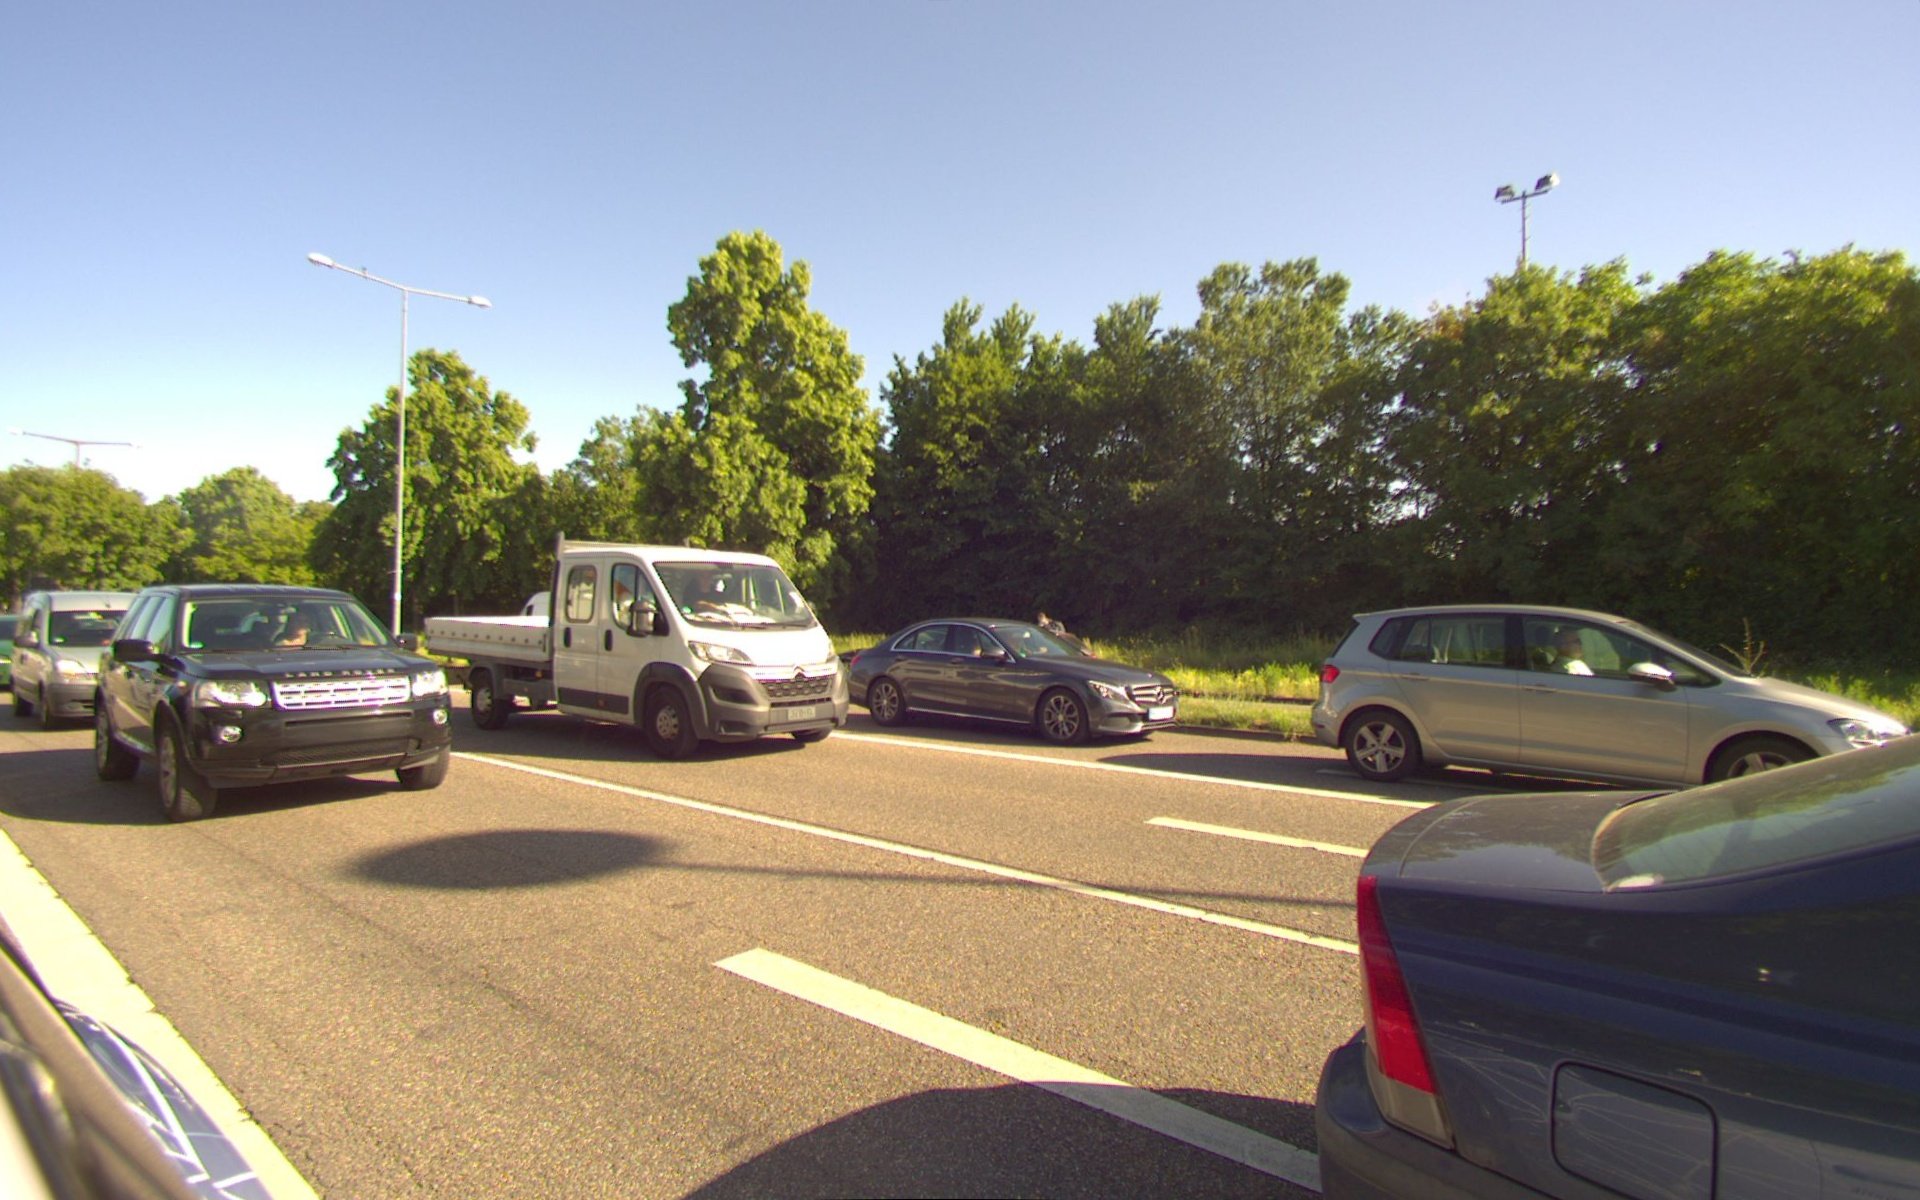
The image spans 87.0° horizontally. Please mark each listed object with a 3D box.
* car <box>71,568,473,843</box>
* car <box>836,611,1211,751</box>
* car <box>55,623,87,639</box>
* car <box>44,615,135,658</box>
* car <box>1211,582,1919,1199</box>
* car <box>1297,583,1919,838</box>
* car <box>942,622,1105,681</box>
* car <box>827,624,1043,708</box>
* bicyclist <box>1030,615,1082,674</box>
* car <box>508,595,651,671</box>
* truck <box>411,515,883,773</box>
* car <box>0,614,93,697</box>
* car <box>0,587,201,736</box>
[{"bbox_3d":[-5.971,0.679,8.560,4.384,1.744,1.793,0,0,41],"label":"car"},{"bbox_3d":[0.647,0.898,12.660,4.550,1.440,1.811,-1,-3,41],"label":"car"},{"bbox_3d":[-90.695,3.162,103.209,4.501,1.536,1.869,-1,-2,41],"label":"car"},{"bbox_3d":[-31.279,1.296,36.355,3.994,1.456,1.706,-1,-2,38],"label":"car"},{"bbox_3d":[2.653,0.699,0.837,4.454,1.462,1.757,0,0,41],"label":"car"},{"bbox_3d":[5.232,0.762,8.503,4.206,1.623,1.810,-1,-3,42],"label":"car"},{"bbox_3d":[1.394,1.137,23.076,3.634,1.244,1.375,-1,-3,41],"label":"car"},{"bbox_3d":[-0.566,1.226,19.848,4.163,1.474,1.757,-1,-3,41],"label":"car"},{"bbox_3d":[2.766,1.283,29.135,1.197,1.661,0.867,-1,-3,36],"label":"bicyclist"},{"bbox_3d":[-13.715,1.162,36.268,5.998,2.511,2.079,-1,-2,40],"label":"car"},{"bbox_3d":[-4.103,0.417,12.233,6.838,2.337,2.157,0,0,41],"label":"truck"},{"bbox_3d":[-18.398,1.037,19.786,3.929,1.486,1.609,-1,-3,41],"label":"car"},{"bbox_3d":[-12.074,0.733,14.058,4.384,1.764,1.611,0,0,41],"label":"car"}]
